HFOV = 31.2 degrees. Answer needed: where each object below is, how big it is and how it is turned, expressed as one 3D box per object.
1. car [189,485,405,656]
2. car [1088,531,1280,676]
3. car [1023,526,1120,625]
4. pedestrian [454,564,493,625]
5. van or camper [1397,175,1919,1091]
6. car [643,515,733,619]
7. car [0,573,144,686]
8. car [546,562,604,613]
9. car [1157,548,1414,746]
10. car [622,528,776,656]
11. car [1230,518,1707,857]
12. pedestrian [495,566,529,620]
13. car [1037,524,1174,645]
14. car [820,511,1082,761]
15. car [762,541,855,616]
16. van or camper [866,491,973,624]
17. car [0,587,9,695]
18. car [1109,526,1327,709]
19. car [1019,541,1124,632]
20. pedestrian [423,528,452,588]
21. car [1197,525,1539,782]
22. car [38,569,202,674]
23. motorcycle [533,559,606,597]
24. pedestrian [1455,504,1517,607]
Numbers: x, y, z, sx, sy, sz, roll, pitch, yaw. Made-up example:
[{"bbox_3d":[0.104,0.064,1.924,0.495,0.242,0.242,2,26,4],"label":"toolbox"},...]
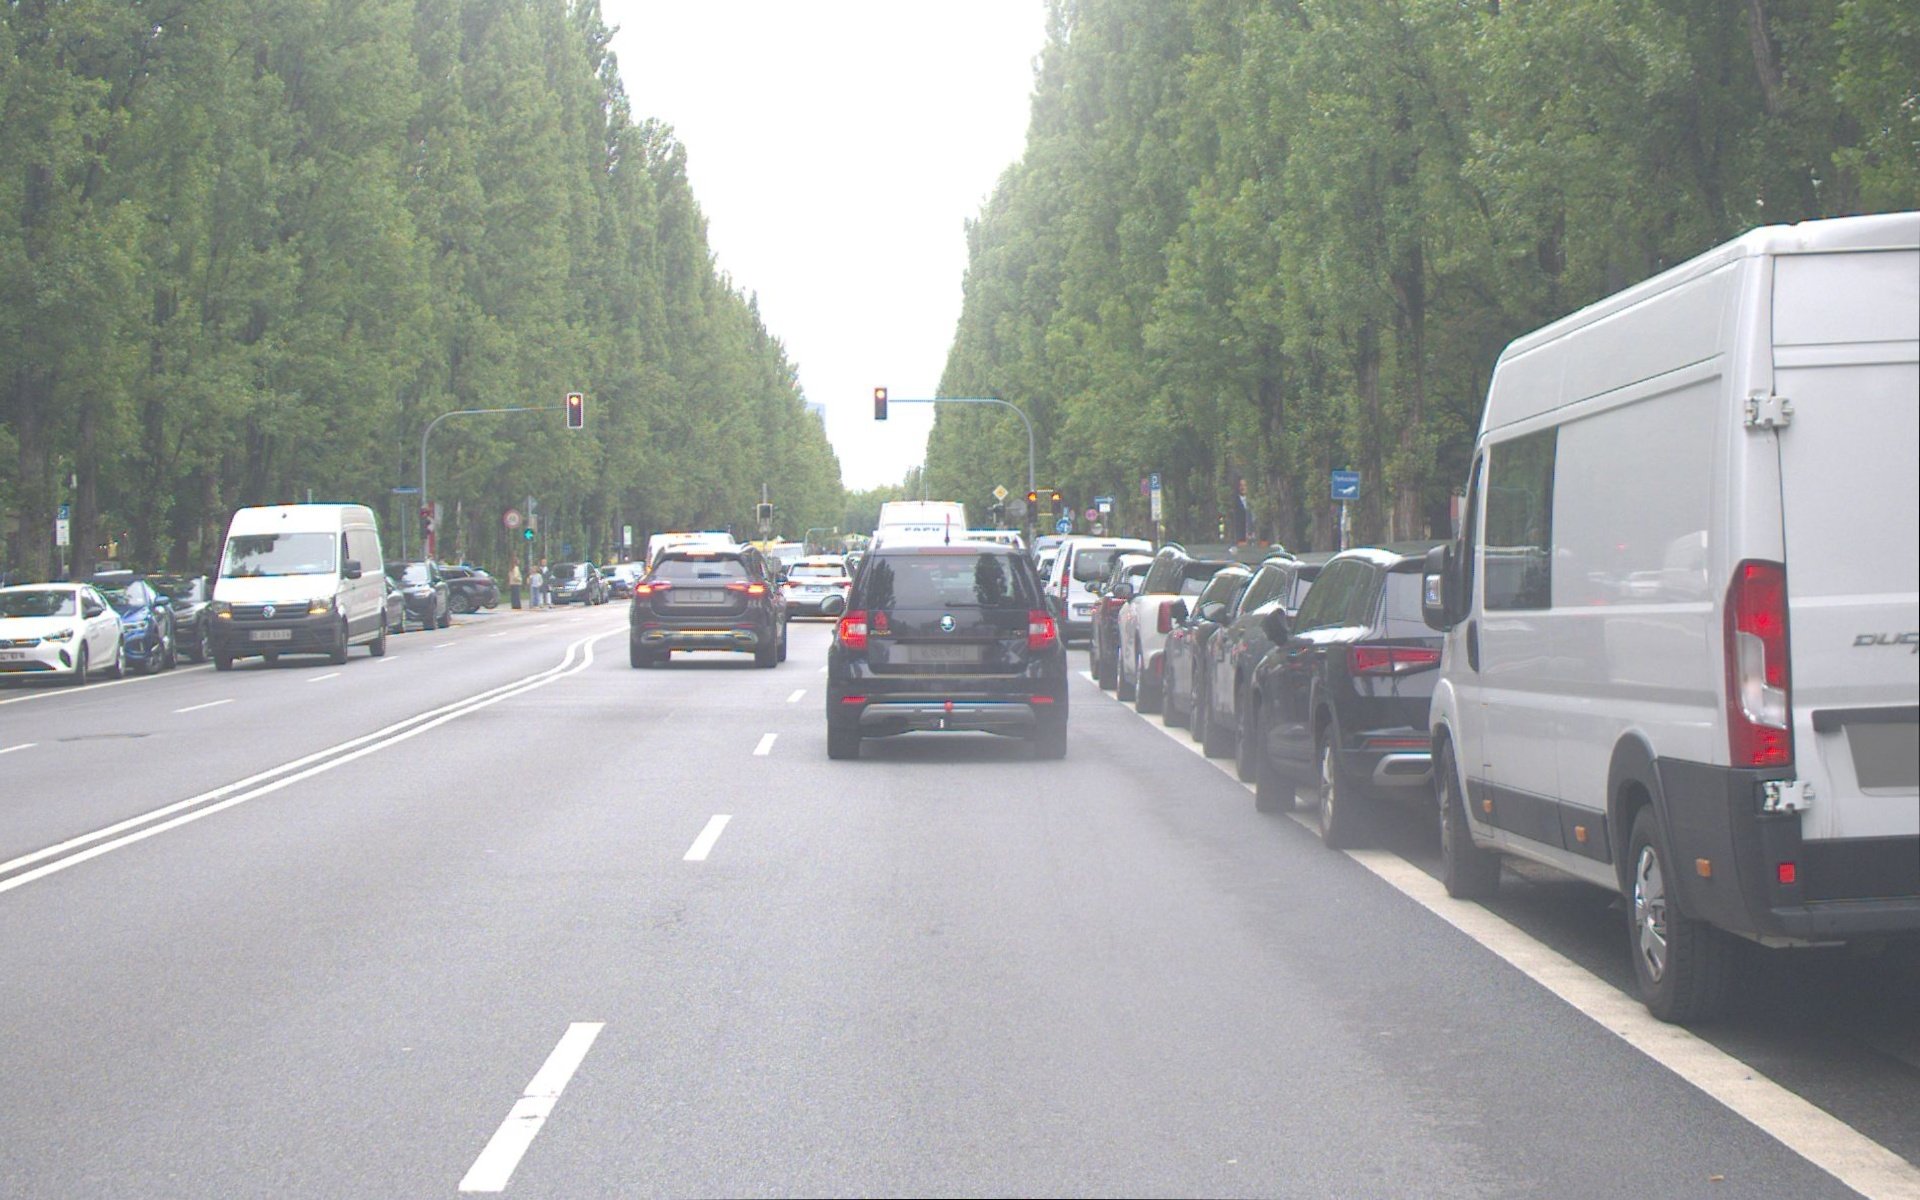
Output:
[{"bbox_3d":[-10.565,-0.499,55.342,2.227,2.475,6.759,-3,1,-2],"label":"car"},{"bbox_3d":[2.522,-0.006,39.667,1.880,1.535,4.464,-1,1,0],"label":"car"},{"bbox_3d":[2.214,-0.519,69.023,1.735,1.889,4.025,-1,1,-1],"label":"car"},{"bbox_3d":[-14.500,-0.173,102.450,0.963,1.785,0.682,-1,1,-22],"label":"pedestrian"},{"bbox_3d":[3.152,0.031,12.751,2.138,2.531,6.418,-1,1,-1],"label":"van or camper"},{"bbox_3d":[-5.693,-0.717,72.357,1.781,2.104,4.025,-1,1,-4],"label":"car"},{"bbox_3d":[-13.062,0.409,49.284,1.770,1.447,4.234,-3,1,-2],"label":"car"},{"bbox_3d":[-14.097,-0.461,126.047,1.688,1.777,3.775,-1,1,-1],"label":"car"},{"bbox_3d":[2.697,0.336,29.348,1.702,1.514,4.295,-1,1,-1],"label":"car"},{"bbox_3d":[-3.450,-0.148,45.996,1.781,1.614,4.025,1,1,-1],"label":"car"},{"bbox_3d":[2.690,0.389,19.205,1.784,1.643,4.418,-1,1,-3],"label":"car"},{"bbox_3d":[-14.886,-0.236,114.220,0.963,1.761,0.682,-1,1,-22],"label":"pedestrian"},{"bbox_3d":[2.342,-0.283,56.410,1.851,1.875,4.169,-1,1,-3],"label":"car"},{"bbox_3d":[-0.081,0.229,26.676,1.855,1.764,4.000,1,1,0],"label":"car"},{"bbox_3d":[-3.395,-0.505,77.473,1.993,1.555,4.001,-1,1,-2],"label":"car"},{"bbox_3d":[-0.836,-0.858,68.252,1.975,2.540,4.025,-1,1,-2],"label":"van or camper"},{"bbox_3d":[-12.725,0.586,40.582,1.826,1.329,4.234,-3,1,-1],"label":"car"},{"bbox_3d":[2.502,0.120,34.276,1.742,1.670,4.580,-1,1,-1],"label":"car"},{"bbox_3d":[2.030,-0.281,63.575,1.741,1.587,4.212,-1,1,-1],"label":"car"},{"bbox_3d":[-14.014,-1.129,92.233,0.660,1.572,0.530,-1,1,0],"label":"pedestrian"},{"bbox_3d":[2.774,0.295,24.319,1.784,1.612,4.638,-1,1,-1],"label":"car"},{"bbox_3d":[-13.030,0.310,53.499,1.709,1.446,3.586,-4,1,-2],"label":"car"},{"bbox_3d":[-13.373,-0.740,117.756,2.363,1.265,0.930,-1,1,0],"label":"motorcycle"},{"bbox_3d":[9.026,-0.763,59.058,0.853,1.711,0.867,-2,1,-1],"label":"pedestrian"}]
